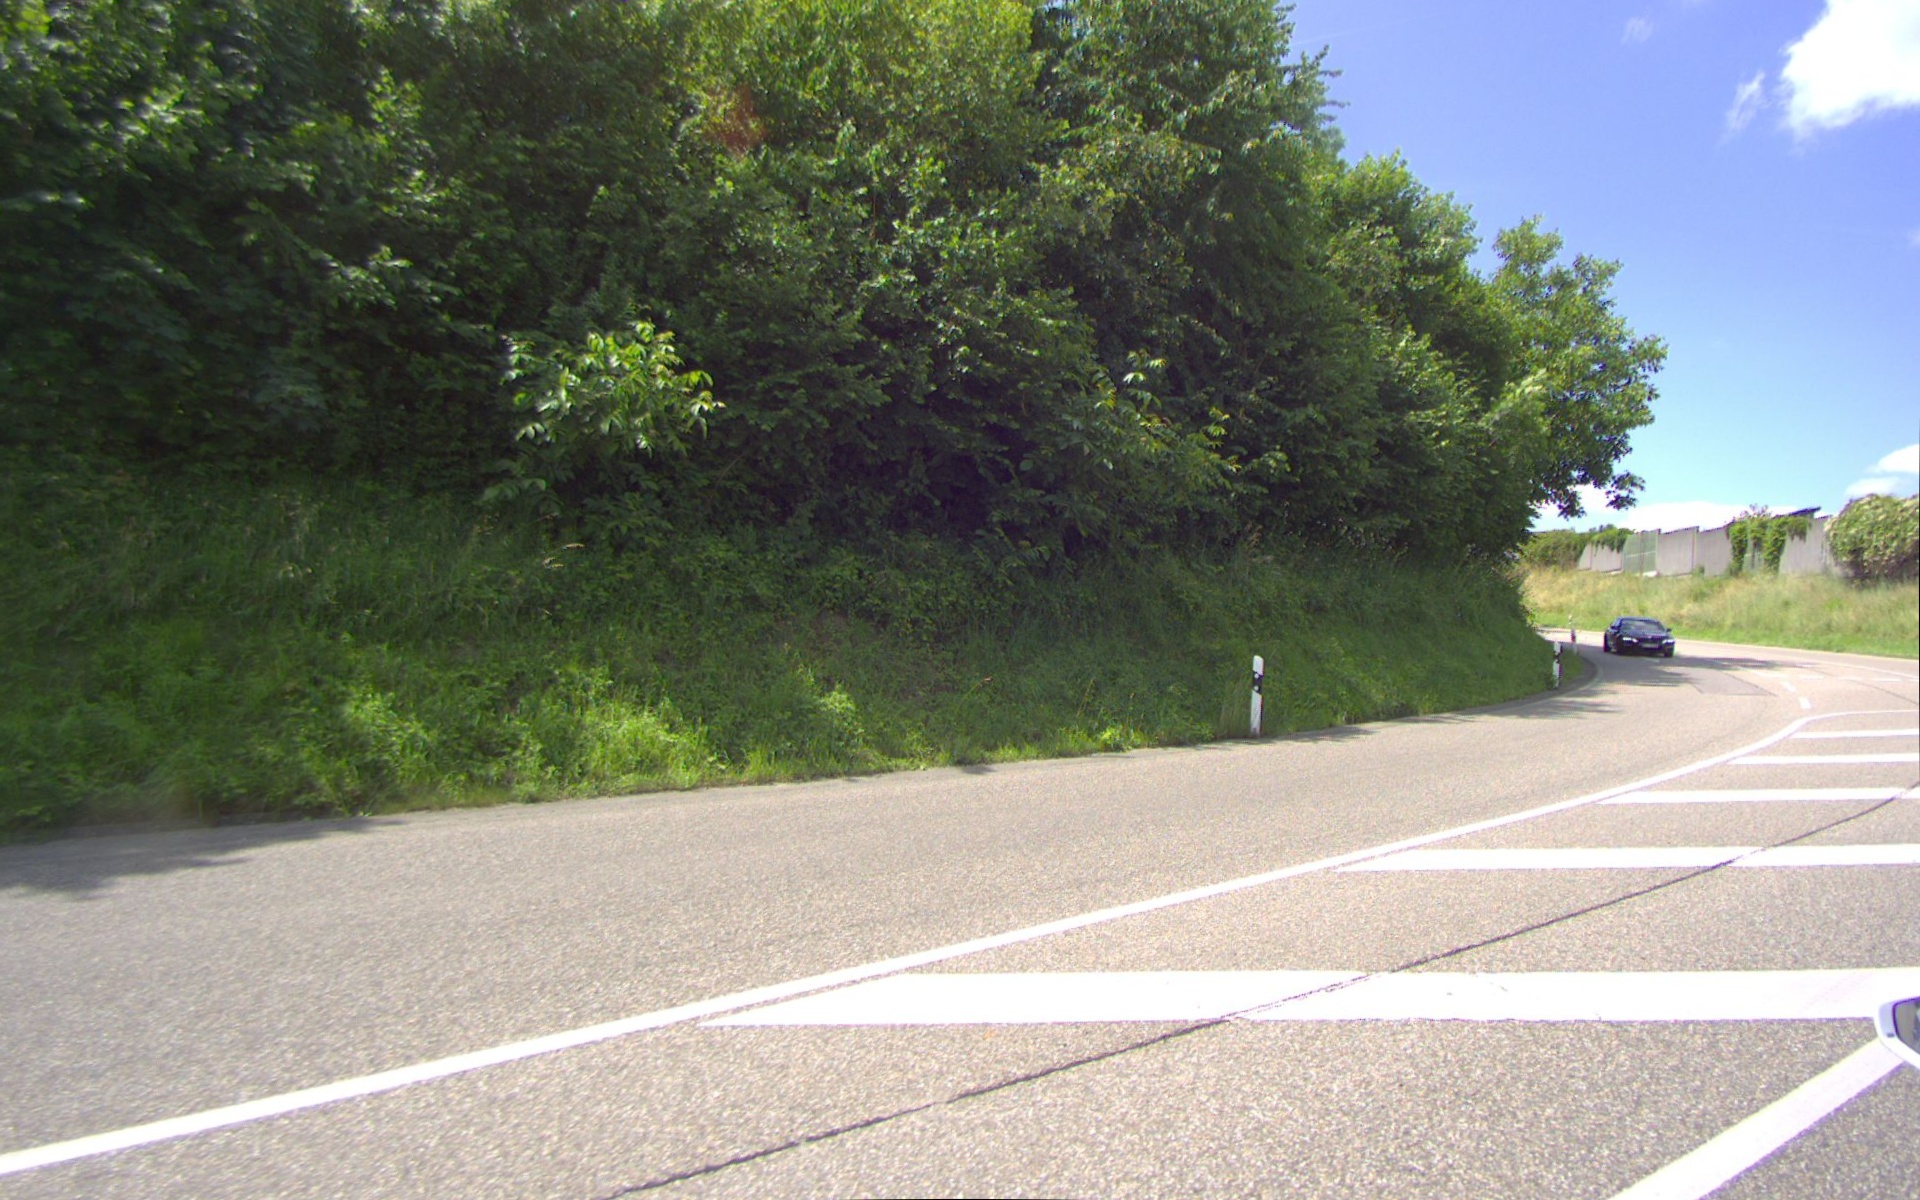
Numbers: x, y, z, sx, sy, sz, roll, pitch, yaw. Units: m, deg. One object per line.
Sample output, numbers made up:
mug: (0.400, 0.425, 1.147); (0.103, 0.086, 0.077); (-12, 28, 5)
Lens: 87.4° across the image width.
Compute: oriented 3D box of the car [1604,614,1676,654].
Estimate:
car: (26.266, 1.316, 38.912); (1.658, 1.438, 4.340); (-1, -2, 26)
